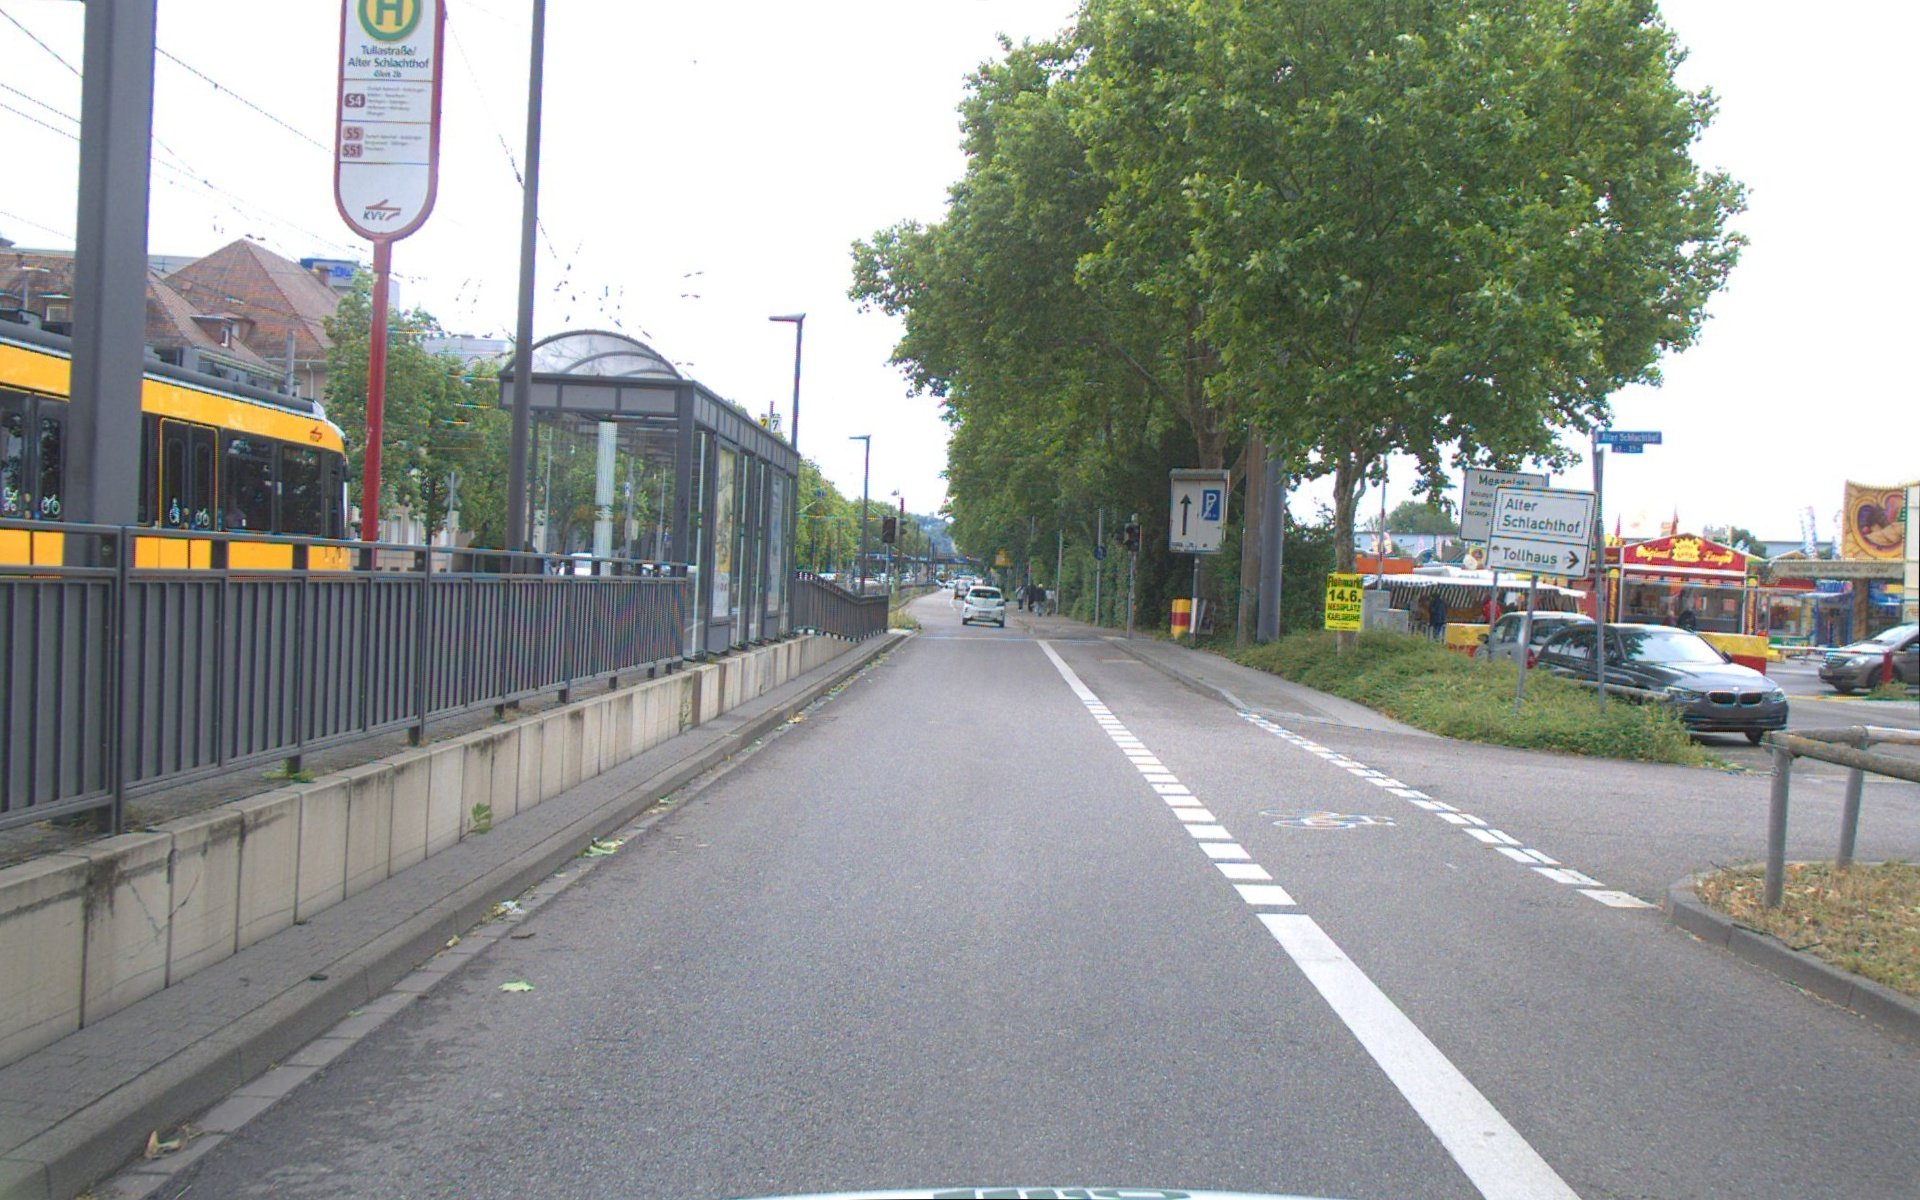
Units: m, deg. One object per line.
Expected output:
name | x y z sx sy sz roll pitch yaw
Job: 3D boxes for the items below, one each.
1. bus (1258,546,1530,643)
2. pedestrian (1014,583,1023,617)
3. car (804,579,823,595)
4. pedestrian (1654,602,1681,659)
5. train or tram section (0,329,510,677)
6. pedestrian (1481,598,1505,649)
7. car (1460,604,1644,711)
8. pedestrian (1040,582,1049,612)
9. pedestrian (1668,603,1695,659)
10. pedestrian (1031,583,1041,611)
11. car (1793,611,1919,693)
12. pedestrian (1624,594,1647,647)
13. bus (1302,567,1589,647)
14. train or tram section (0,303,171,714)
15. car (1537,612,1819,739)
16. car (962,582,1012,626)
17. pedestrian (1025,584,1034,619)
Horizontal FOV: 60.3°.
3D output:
bus | 15.380 -0.189 58.862 9.091 3.011 1.999 2 0 -2
pedestrian | 3.524 0.009 99.313 0.387 2.049 0.403 2 0 16
car | -16.621 -1.469 188.185 1.954 1.825 3.997 2 0 -3
pedestrian | 21.903 0.936 51.200 0.513 1.716 0.492 2 0 -16
train or tram section | -11.341 -1.239 28.030 3.115 4.251 14.735 2 0 1
pedestrian | 15.906 0.690 49.334 0.483 1.488 0.523 2 0 -2
car | 10.040 0.926 28.353 1.824 1.622 4.001 2 0 3
pedestrian | 4.564 -0.171 89.586 0.387 1.613 0.538 2 0 10
pedestrian | 22.580 0.967 51.754 0.513 1.716 0.492 2 0 -16
pedestrian | 4.115 -0.173 89.637 0.387 1.469 0.564 2 0 10
car | 20.498 1.144 35.222 4.480 1.603 2.000 2 0 -1
pedestrian | 22.221 0.672 54.438 0.483 1.716 0.523 2 0 -2
bus | 16.326 0.231 55.818 9.091 2.266 1.999 2 0 -2
train or tram section | -11.547 -0.992 13.240 3.115 4.251 14.735 2 0 1
car | 9.492 0.941 22.240 1.826 1.455 3.997 2 0 -4
car | 1.048 0.126 63.140 1.803 1.579 4.001 2 0 2
pedestrian | 4.157 0.077 99.152 0.387 2.049 0.403 2 0 16
